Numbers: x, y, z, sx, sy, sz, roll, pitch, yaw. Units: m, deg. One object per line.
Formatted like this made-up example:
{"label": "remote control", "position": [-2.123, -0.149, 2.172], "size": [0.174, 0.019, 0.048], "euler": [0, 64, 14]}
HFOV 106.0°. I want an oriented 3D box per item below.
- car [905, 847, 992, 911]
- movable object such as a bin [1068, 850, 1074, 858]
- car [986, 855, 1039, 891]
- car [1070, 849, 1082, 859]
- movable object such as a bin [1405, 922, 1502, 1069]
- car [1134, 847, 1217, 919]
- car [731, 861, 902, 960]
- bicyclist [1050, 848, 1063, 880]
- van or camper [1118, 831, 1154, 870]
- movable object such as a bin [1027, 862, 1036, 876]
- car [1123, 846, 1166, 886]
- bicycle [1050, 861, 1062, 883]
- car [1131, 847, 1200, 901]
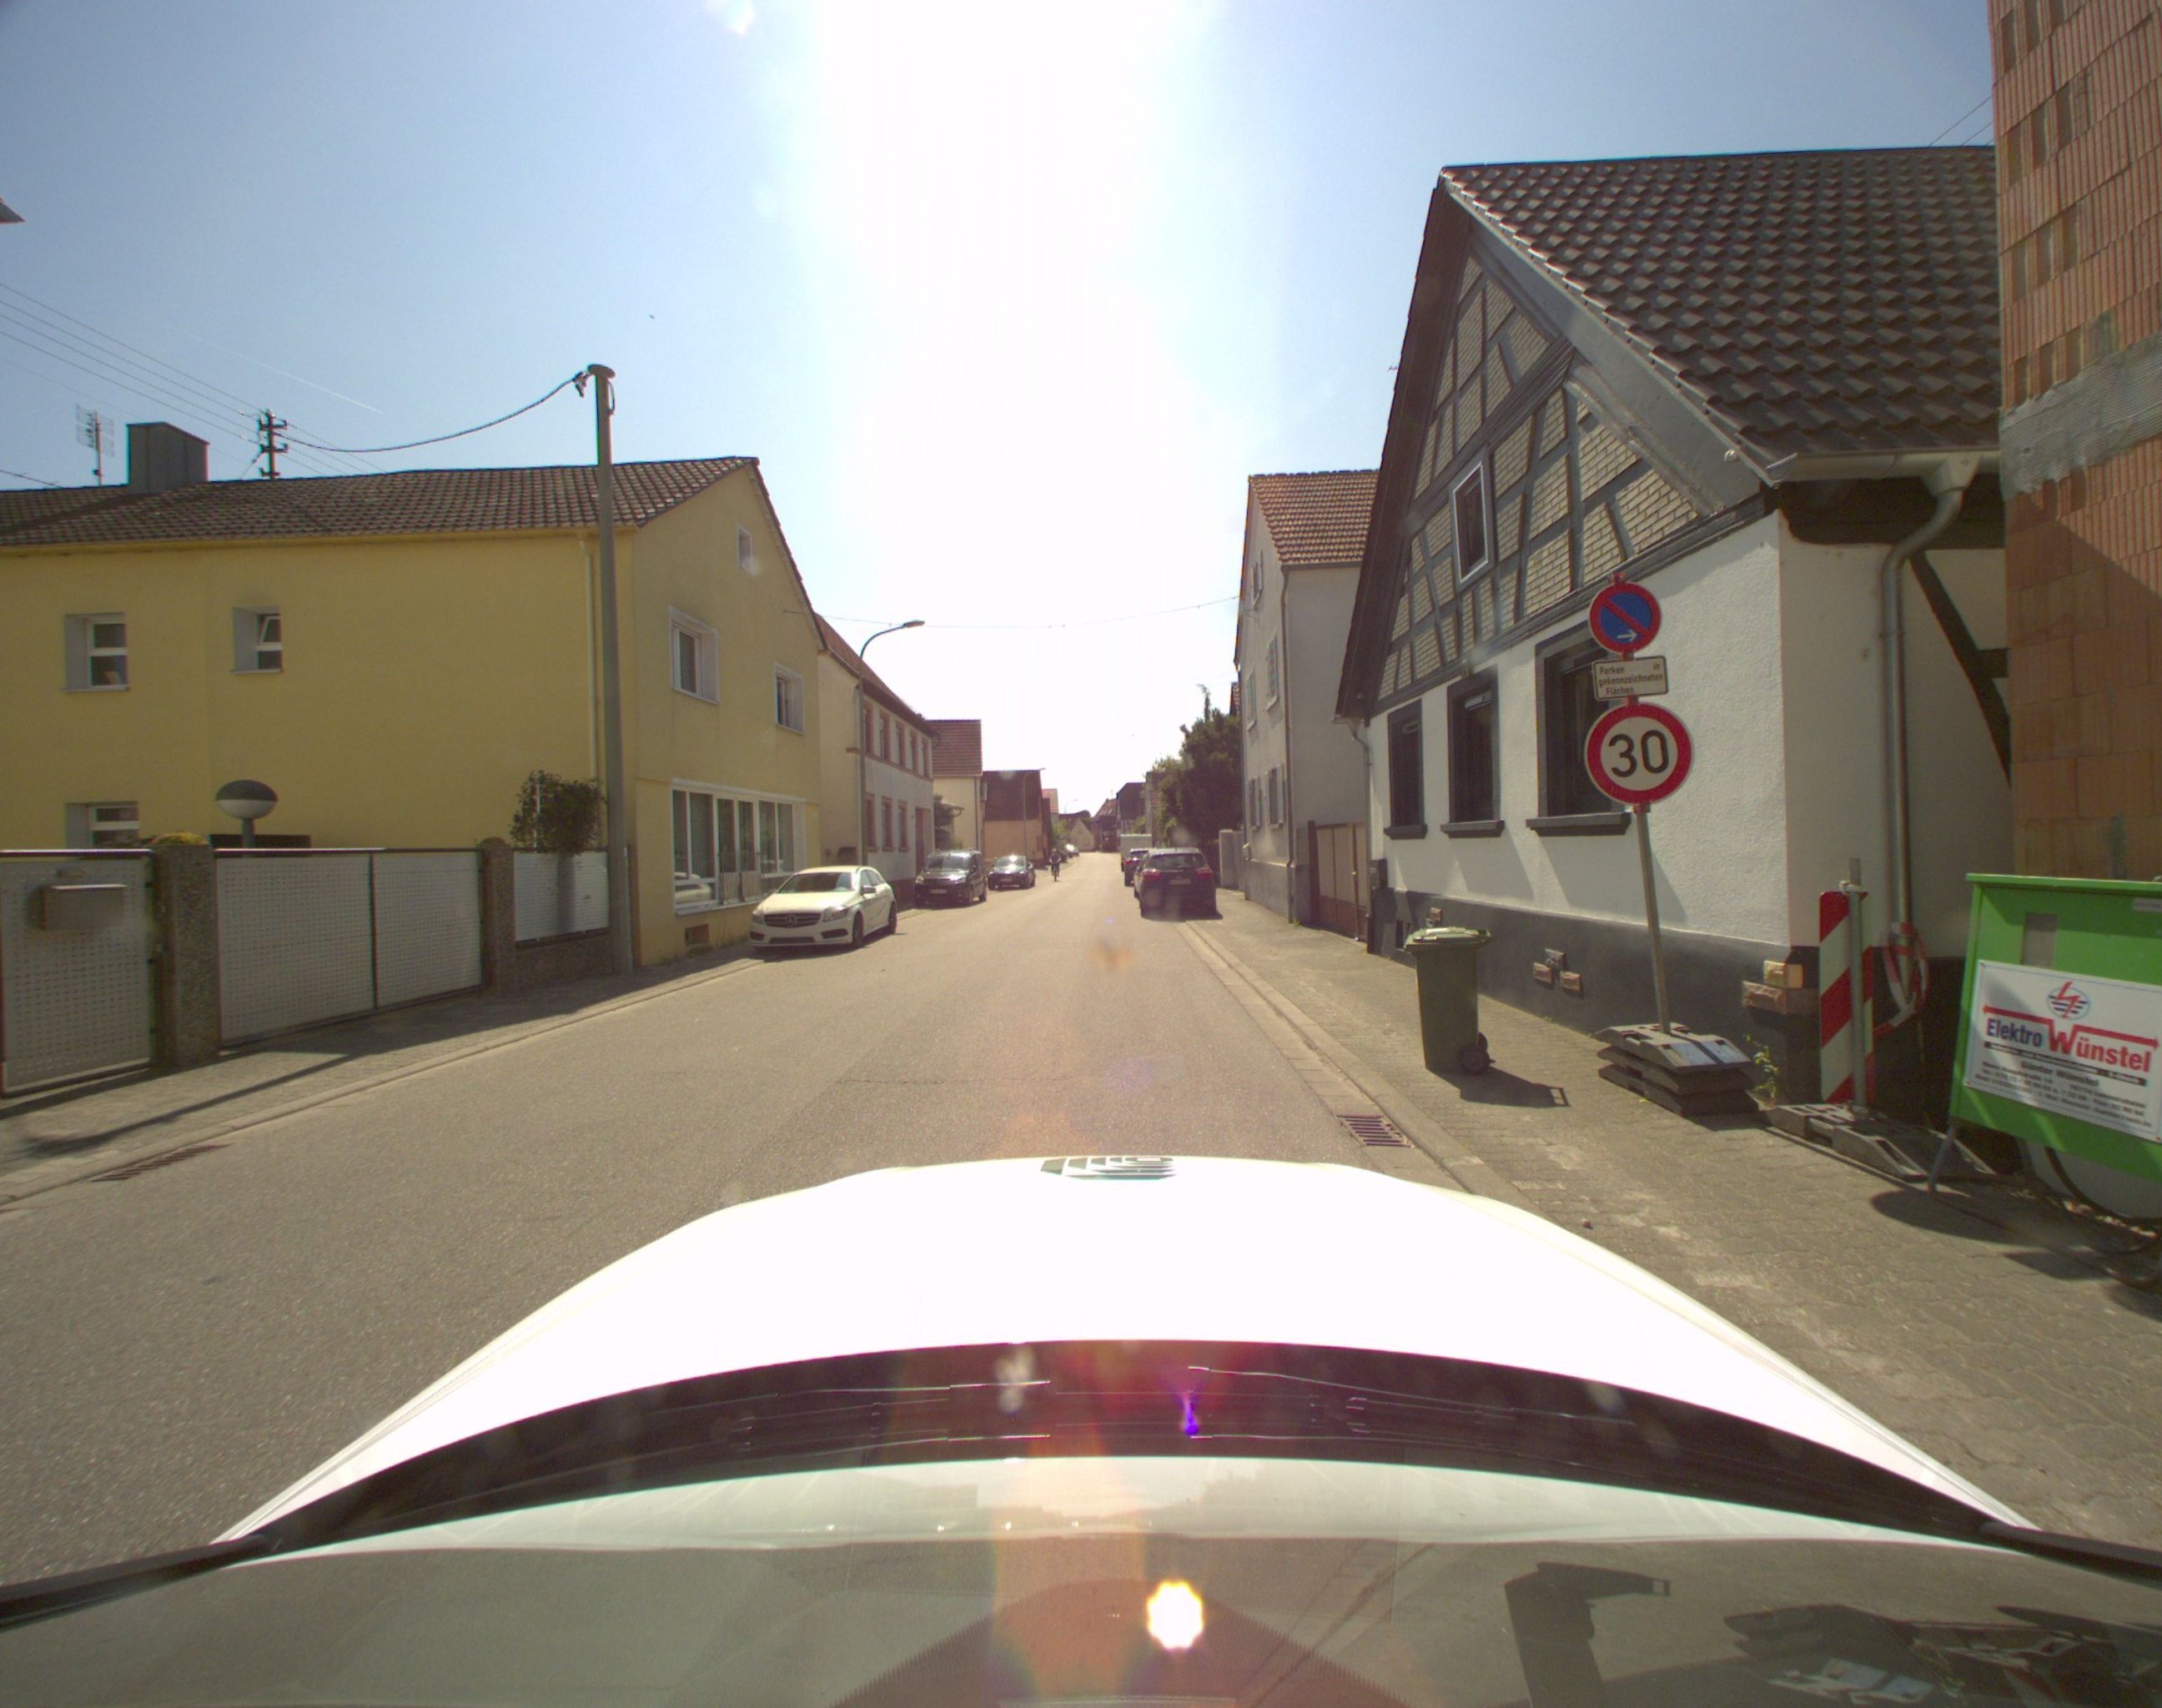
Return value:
{"label": "car", "position": [-4.262, 0.744, 26.870], "size": [1.827, 1.837, 4.357], "euler": [-3, 0, 3]}
{"label": "movable object such as a bin", "position": [-1.392, 0.004, 112.315], "size": [0.686, 1.185, 0.715], "euler": [-3, 0, 2]}
{"label": "car", "position": [-3.205, 0.847, 38.871], "size": [1.836, 1.526, 4.769], "euler": [-2, 0, 3]}
{"label": "car", "position": [-0.769, 0.033, 123.338], "size": [1.506, 1.436, 3.513], "euler": [-3, 0, 2]}
{"label": "movable object such as a bin", "position": [2.569, 0.953, 5.661], "size": [0.533, 0.913, 0.554], "euler": [-2, 0, 19]}
{"label": "car", "position": [2.298, 0.649, 20.822], "size": [1.790, 1.560, 4.635], "euler": [-2, 0, 3]}
{"label": "car", "position": [-4.783, 0.936, 15.425], "size": [1.829, 1.464, 4.269], "euler": [-3, 0, -1]}
{"label": "bicyclist", "position": [-1.371, 0.565, 45.801], "size": [0.702, 1.771, 0.624], "euler": [-2, 0, -2]}
{"label": "van or camper", "position": [4.088, -0.257, 61.272], "size": [2.512, 2.696, 4.557], "euler": [-2, 0, 2]}
{"label": "movable object such as a bin", "position": [-3.248, 0.981, 53.754], "size": [0.537, 0.949, 0.553], "euler": [-1, 0, 2]}
{"label": "car", "position": [2.957, 0.514, 37.292], "size": [1.785, 1.631, 4.368], "euler": [-2, 1, 6]}
{"label": "bicycle", "position": [-1.378, 0.987, 45.578], "size": [0.587, 1.148, 1.948], "euler": [-3, 0, -1]}
{"label": "car", "position": [2.619, 0.574, 26.173], "size": [1.813, 1.508, 4.583], "euler": [-2, 0, 1]}
